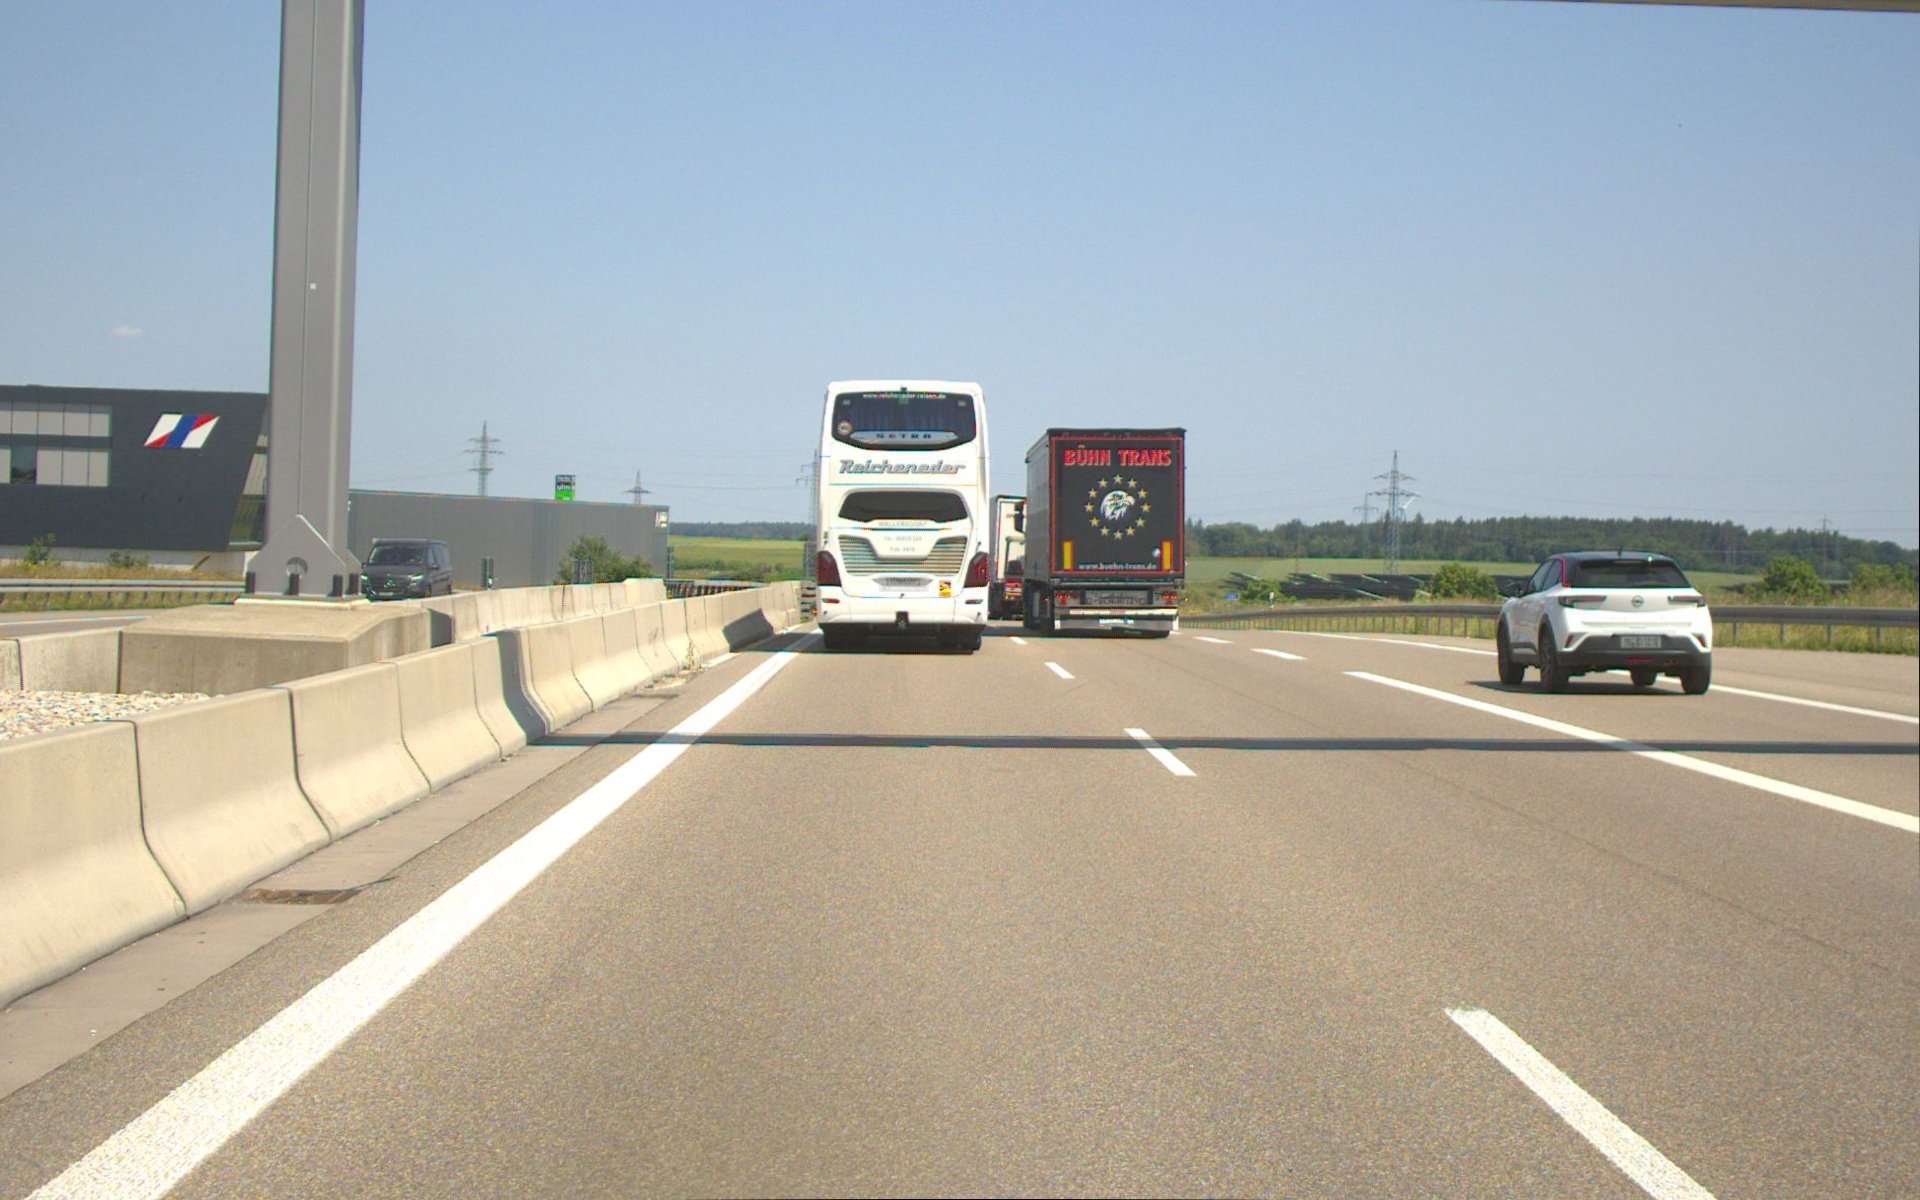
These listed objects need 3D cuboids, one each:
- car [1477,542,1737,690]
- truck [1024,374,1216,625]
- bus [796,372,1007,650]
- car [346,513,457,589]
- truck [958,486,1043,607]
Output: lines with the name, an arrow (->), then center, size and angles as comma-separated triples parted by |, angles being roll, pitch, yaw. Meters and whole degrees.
car -> 7.136, 0.132, 38.331 | 1.891, 1.524, 4.262 | 1, 1, -3
truck -> 3.094, -1.818, 70.620 | 3.379, 4.449, 13.566 | 2, -1, 1
bus -> -1.012, -1.433, 54.372 | 2.980, 3.961, 9.106 | 1, 2, -2
car -> -15.209, -1.352, 93.898 | 2.148, 2.007, 5.382 | 1, 1, 0
truck -> 1.266, -1.758, 111.543 | 2.437, 3.776, 6.494 | 1, 1, -2
